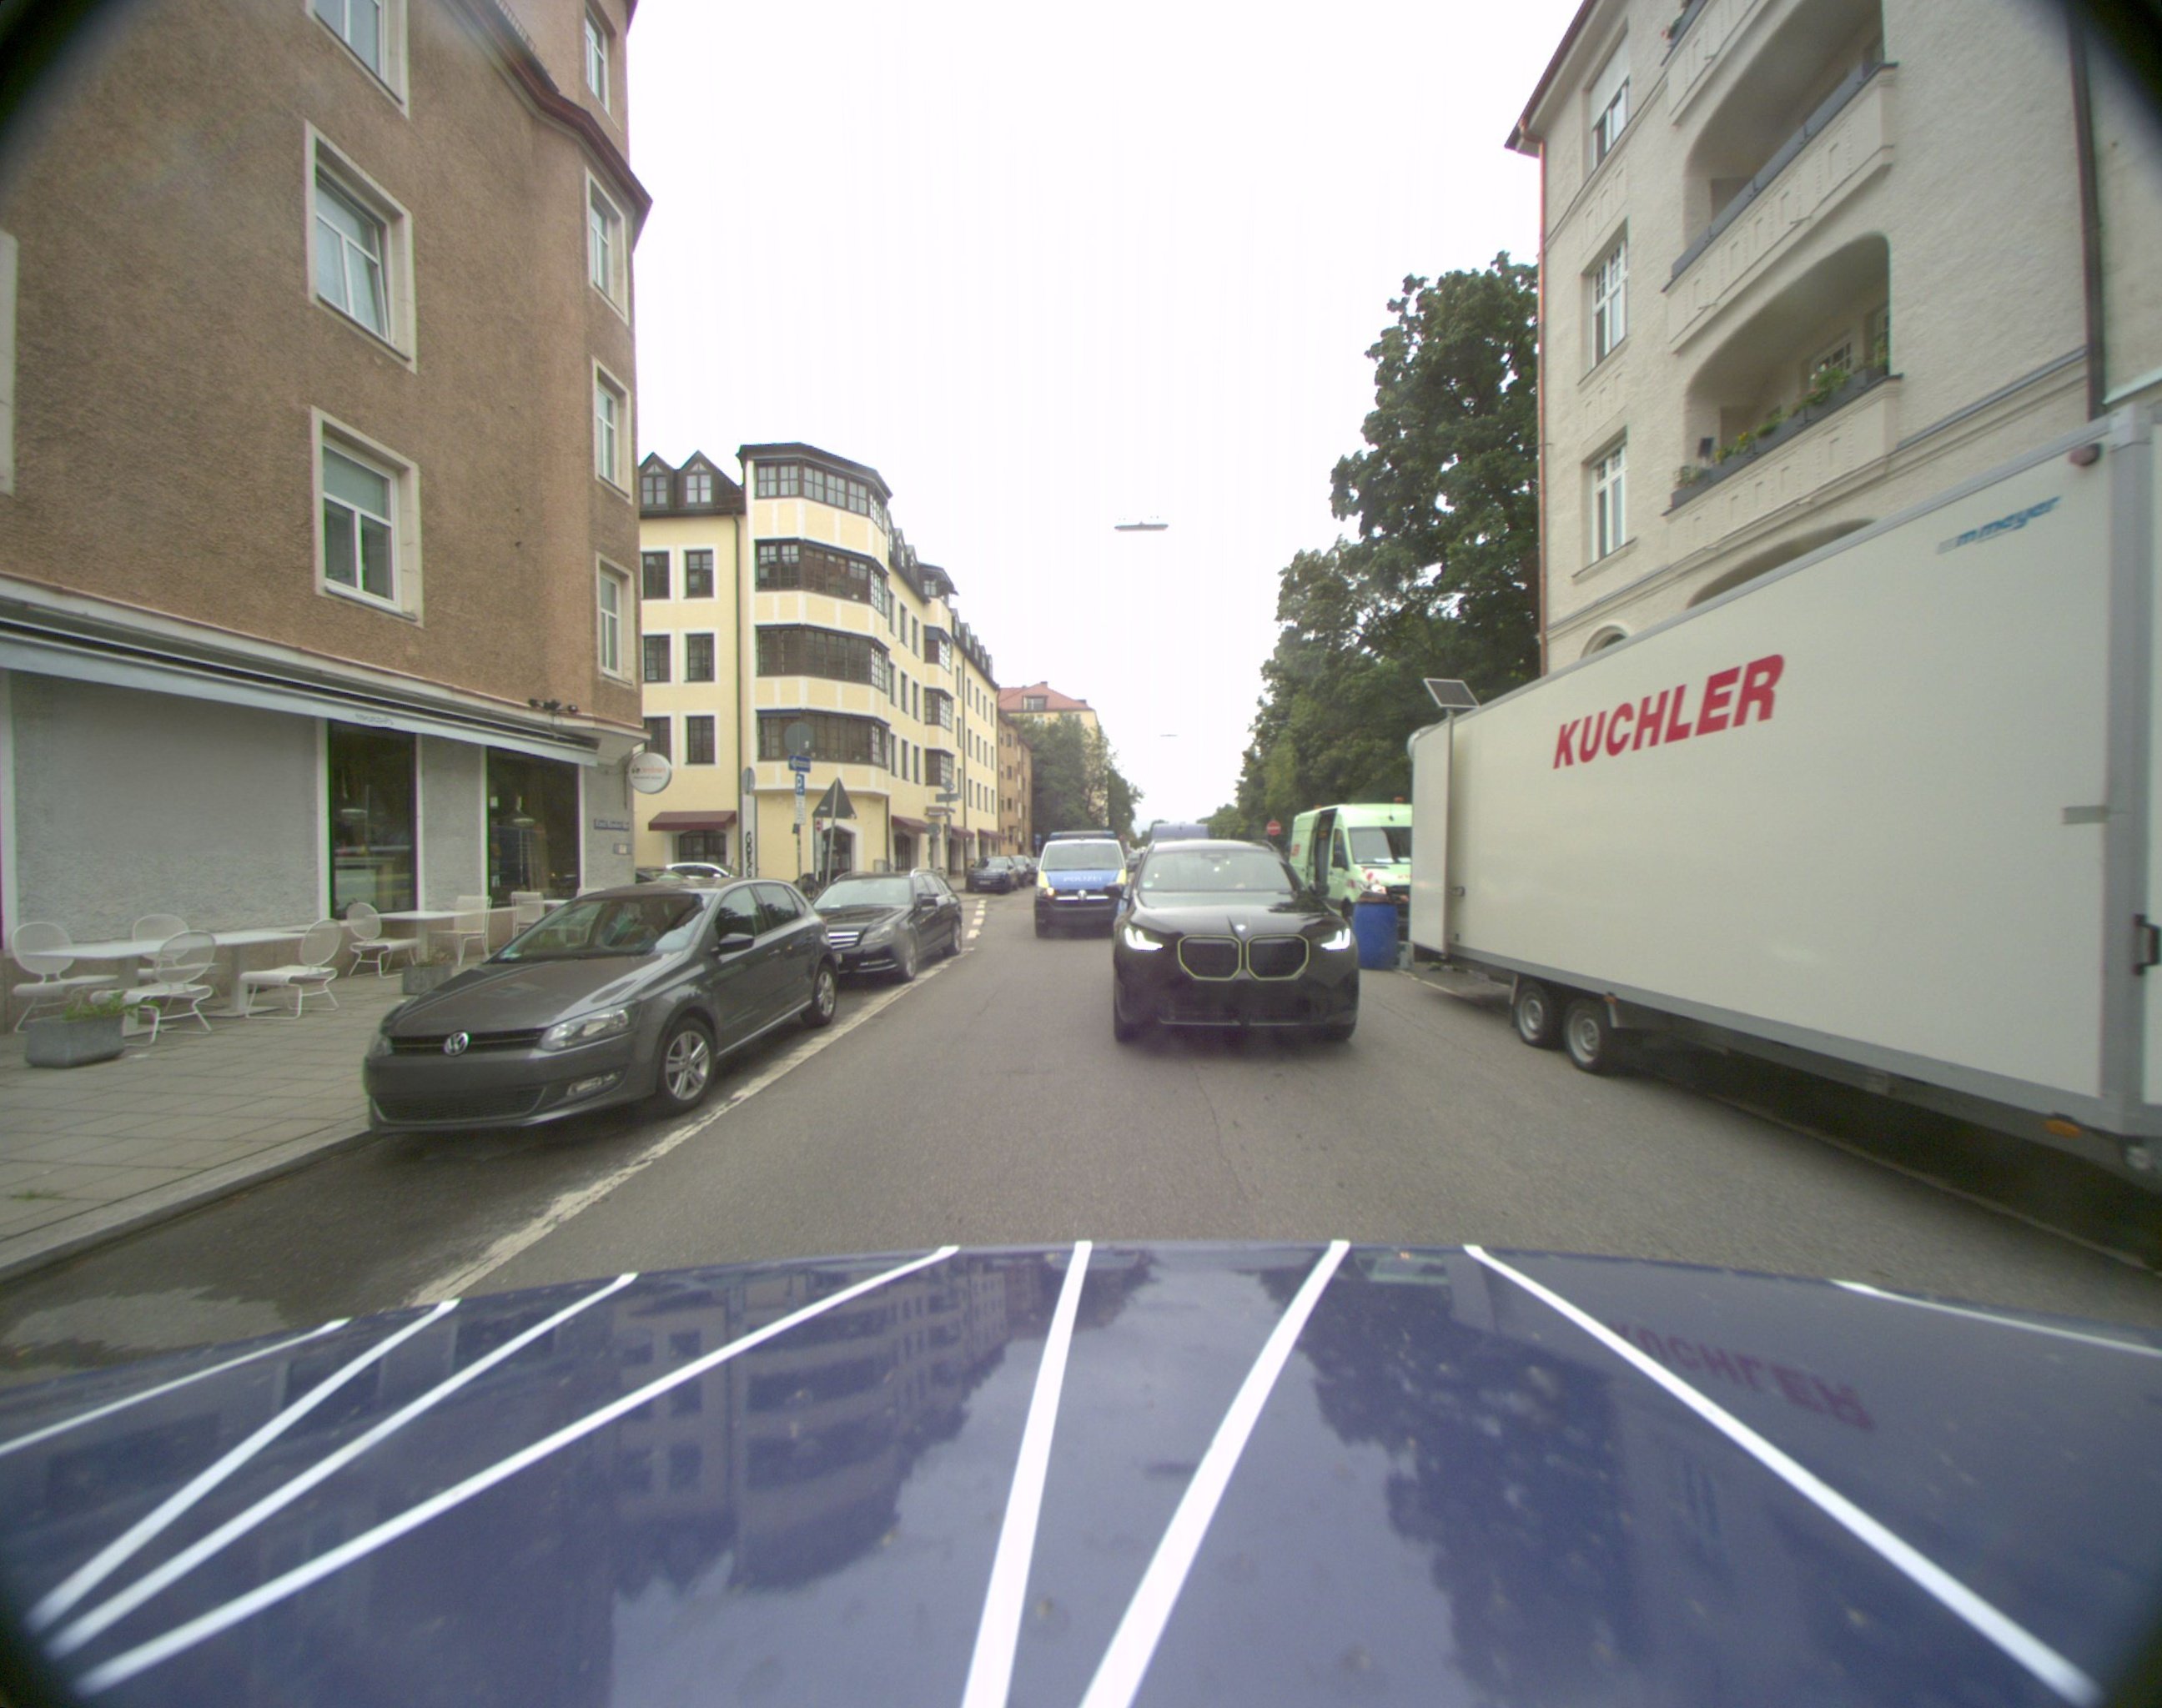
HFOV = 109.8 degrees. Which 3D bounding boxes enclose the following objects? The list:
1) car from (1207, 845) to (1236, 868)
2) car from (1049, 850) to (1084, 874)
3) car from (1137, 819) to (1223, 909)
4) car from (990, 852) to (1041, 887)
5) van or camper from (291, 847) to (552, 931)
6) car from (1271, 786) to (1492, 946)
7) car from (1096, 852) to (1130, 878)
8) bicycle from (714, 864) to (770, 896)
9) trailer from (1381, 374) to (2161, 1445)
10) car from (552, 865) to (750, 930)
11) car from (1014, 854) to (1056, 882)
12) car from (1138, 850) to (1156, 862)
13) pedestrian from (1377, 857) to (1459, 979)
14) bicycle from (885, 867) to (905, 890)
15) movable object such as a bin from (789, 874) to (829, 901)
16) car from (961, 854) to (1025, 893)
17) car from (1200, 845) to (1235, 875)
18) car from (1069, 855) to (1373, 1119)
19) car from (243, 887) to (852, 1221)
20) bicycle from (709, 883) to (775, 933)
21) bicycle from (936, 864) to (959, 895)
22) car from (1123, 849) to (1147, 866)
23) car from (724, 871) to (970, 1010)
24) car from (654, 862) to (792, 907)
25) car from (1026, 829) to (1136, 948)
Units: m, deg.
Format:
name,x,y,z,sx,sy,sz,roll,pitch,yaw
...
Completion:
name,x,y,z,sx,sy,sz,roll,pitch,yaw
car,9.873,0.139,53.695,1.816,1.455,4.166,4,1,9
car,-1.044,0.553,57.766,1.882,1.642,5.619,1,1,7
car,3.280,0.214,23.956,2.003,2.477,6.238,-1,1,13
car,-3.359,0.764,39.889,1.817,1.580,4.165,4,1,6
van or camper,-16.406,0.832,19.075,4.910,1.908,1.961,0,3,4
car,5.707,0.195,15.675,2.146,2.557,6.795,-1,0,3
car,2.151,0.675,49.568,1.997,1.587,4.001,1,1,6
bicycle,-12.749,0.973,28.609,1.904,1.180,0.515,0,1,3
trailer,4.596,0.199,4.772,2.810,2.951,7.602,2,0,4
car,-10.641,1.061,19.004,3.881,1.479,1.892,0,1,3
car,-2.674,0.771,44.973,1.763,1.514,3.934,1,1,8
car,7.853,0.183,89.972,1.836,1.390,4.002,1,1,9
pedestrian,4.507,0.826,10.197,0.764,1.571,0.636,0,1,-15
bicycle,-8.044,1.052,32.921,0.262,0.897,1.695,4,1,5
movable object such as a bin,-9.593,1.169,26.806,1.125,0.895,0.684,0,1,3
car,-3.923,0.848,34.669,2.111,1.613,4.497,-1,1,3
car,7.914,0.308,43.882,1.816,1.580,4.167,4,1,11
car,1.296,0.837,7.013,1.919,1.557,4.297,0,1,12
car,-3.207,1.061,5.760,1.576,1.386,4.182,0,1,1
bicycle,-7.373,1.150,16.608,0.496,0.999,1.804,1,-1,5
bicycle,-5.372,1.022,30.678,0.430,1.152,2.053,1,1,4
car,4.807,0.299,67.492,1.836,1.390,4.002,1,1,9
car,-2.963,1.020,10.875,1.851,1.397,4.788,-1,0,2
car,-11.794,0.996,25.168,3.741,1.431,1.753,0,-2,7
car,0.202,0.622,16.502,1.826,2.086,5.635,-2,0,5
